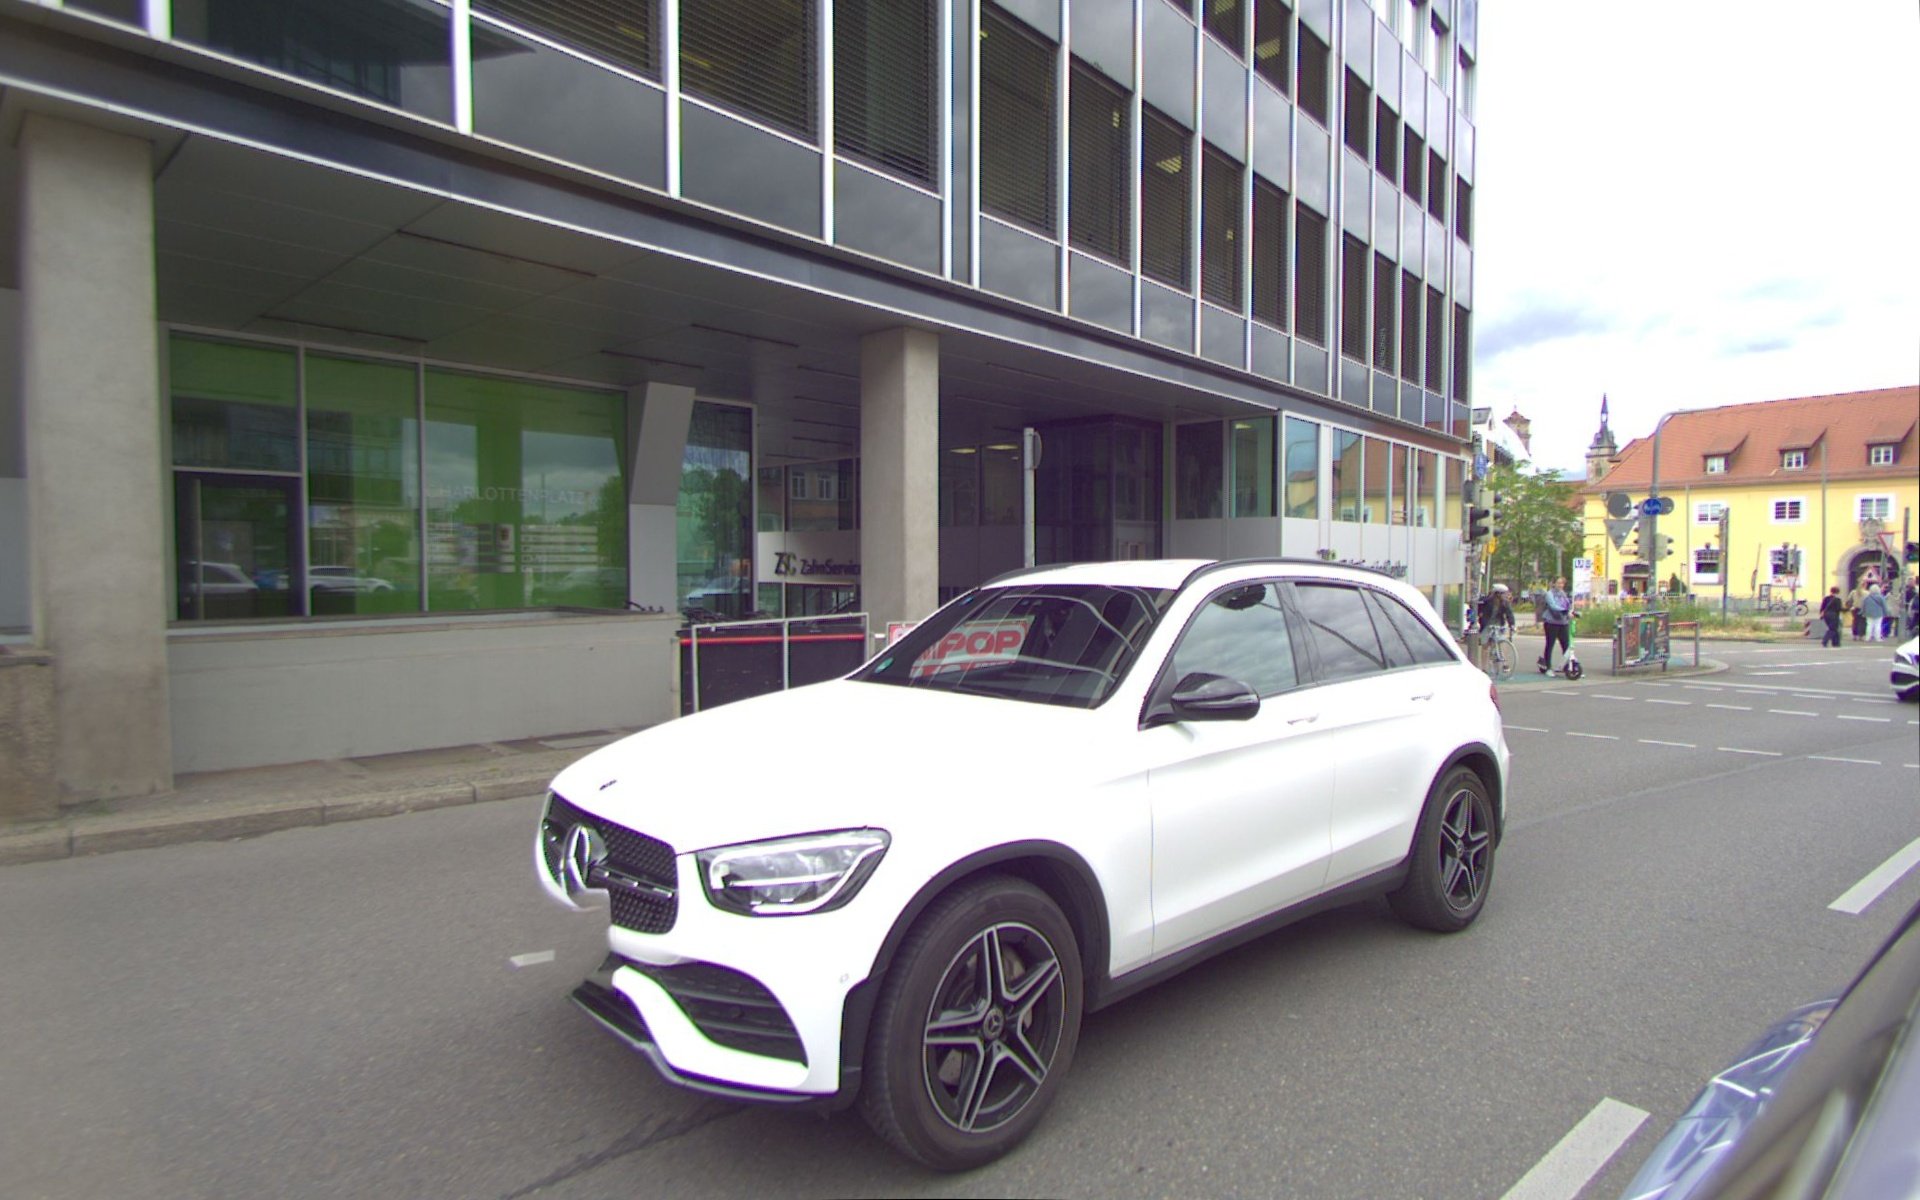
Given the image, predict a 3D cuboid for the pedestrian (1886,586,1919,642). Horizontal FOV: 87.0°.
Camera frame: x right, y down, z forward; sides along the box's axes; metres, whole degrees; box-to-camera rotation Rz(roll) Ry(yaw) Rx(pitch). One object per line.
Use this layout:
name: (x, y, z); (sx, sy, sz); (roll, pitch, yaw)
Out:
pedestrian: (29.406, 0.419, 31.553); (0.604, 1.717, 0.638); (1, 1, 24)

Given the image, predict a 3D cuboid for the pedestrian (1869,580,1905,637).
pedestrian: (28.149, 0.240, 30.741); (0.604, 1.717, 0.638); (1, 1, 24)

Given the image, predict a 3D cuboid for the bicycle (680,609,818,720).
bicycle: (-2.259, 0.657, 10.970); (0.707, 1.061, 1.473); (1, 1, 26)

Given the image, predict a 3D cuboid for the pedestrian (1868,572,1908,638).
pedestrian: (27.053, 0.137, 29.504); (0.663, 1.886, 0.696); (1, 1, 26)

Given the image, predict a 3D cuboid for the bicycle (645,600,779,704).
bicycle: (-2.811, 0.552, 11.588); (0.707, 1.061, 1.473); (1, 1, 26)

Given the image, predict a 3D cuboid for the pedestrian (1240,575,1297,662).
pedestrian: (5.382, 0.300, 17.661); (0.604, 1.460, 0.826); (3, 3, 43)

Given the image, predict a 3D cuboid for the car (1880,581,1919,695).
car: (15.625, 0.536, 14.717); (4.557, 1.588, 1.874); (0, 2, -28)

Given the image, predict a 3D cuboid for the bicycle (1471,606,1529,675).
bicycle: (9.279, 0.667, 17.433); (0.574, 1.039, 1.660); (2, 3, 18)

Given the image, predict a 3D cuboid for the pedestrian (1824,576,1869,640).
pedestrian: (24.551, 0.208, 28.039); (0.795, 1.718, 0.542); (2, 2, 30)

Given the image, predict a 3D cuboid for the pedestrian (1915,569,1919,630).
pedestrian: (30.558, -0.005, 31.787); (0.604, 1.934, 0.638); (1, 1, 24)

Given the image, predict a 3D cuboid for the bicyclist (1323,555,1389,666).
bicyclist: (6.803, 0.165, 17.429); (0.661, 1.869, 0.816); (0, 1, -19)

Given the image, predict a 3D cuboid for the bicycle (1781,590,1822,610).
bicycle: (49.963, -0.019, 60.111); (0.609, 1.099, 1.773); (0, 2, -32)

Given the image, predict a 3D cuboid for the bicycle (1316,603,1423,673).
bicycle: (6.951, 0.622, 17.271); (0.666, 1.019, 1.772); (3, 2, -18)

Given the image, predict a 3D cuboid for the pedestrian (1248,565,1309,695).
pedestrian: (4.450, 0.396, 14.136); (0.524, 1.732, 0.742); (3, 5, 42)

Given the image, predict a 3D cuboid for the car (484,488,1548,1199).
car: (0.573, 0.538, 4.147); (4.257, 1.666, 1.806); (-1, 3, -40)

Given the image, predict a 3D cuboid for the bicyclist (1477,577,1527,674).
bicyclist: (9.234, 0.411, 17.264); (0.558, 1.568, 0.841); (2, 2, 19)

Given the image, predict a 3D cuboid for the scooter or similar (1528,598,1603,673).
scooter or similar: (10.568, 0.597, 17.712); (0.583, 1.190, 1.322); (1, 3, 6)

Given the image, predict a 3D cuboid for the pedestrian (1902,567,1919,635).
pedestrian: (28.614, 0.028, 30.148); (0.604, 1.989, 0.638); (1, 1, 24)

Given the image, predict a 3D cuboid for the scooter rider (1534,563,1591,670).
scooter rider: (10.583, 0.274, 17.794); (0.583, 1.831, 0.643); (1, 2, 6)

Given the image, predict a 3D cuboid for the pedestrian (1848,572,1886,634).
pedestrian: (27.148, 0.081, 30.303); (0.663, 1.838, 0.696); (1, 1, 26)
